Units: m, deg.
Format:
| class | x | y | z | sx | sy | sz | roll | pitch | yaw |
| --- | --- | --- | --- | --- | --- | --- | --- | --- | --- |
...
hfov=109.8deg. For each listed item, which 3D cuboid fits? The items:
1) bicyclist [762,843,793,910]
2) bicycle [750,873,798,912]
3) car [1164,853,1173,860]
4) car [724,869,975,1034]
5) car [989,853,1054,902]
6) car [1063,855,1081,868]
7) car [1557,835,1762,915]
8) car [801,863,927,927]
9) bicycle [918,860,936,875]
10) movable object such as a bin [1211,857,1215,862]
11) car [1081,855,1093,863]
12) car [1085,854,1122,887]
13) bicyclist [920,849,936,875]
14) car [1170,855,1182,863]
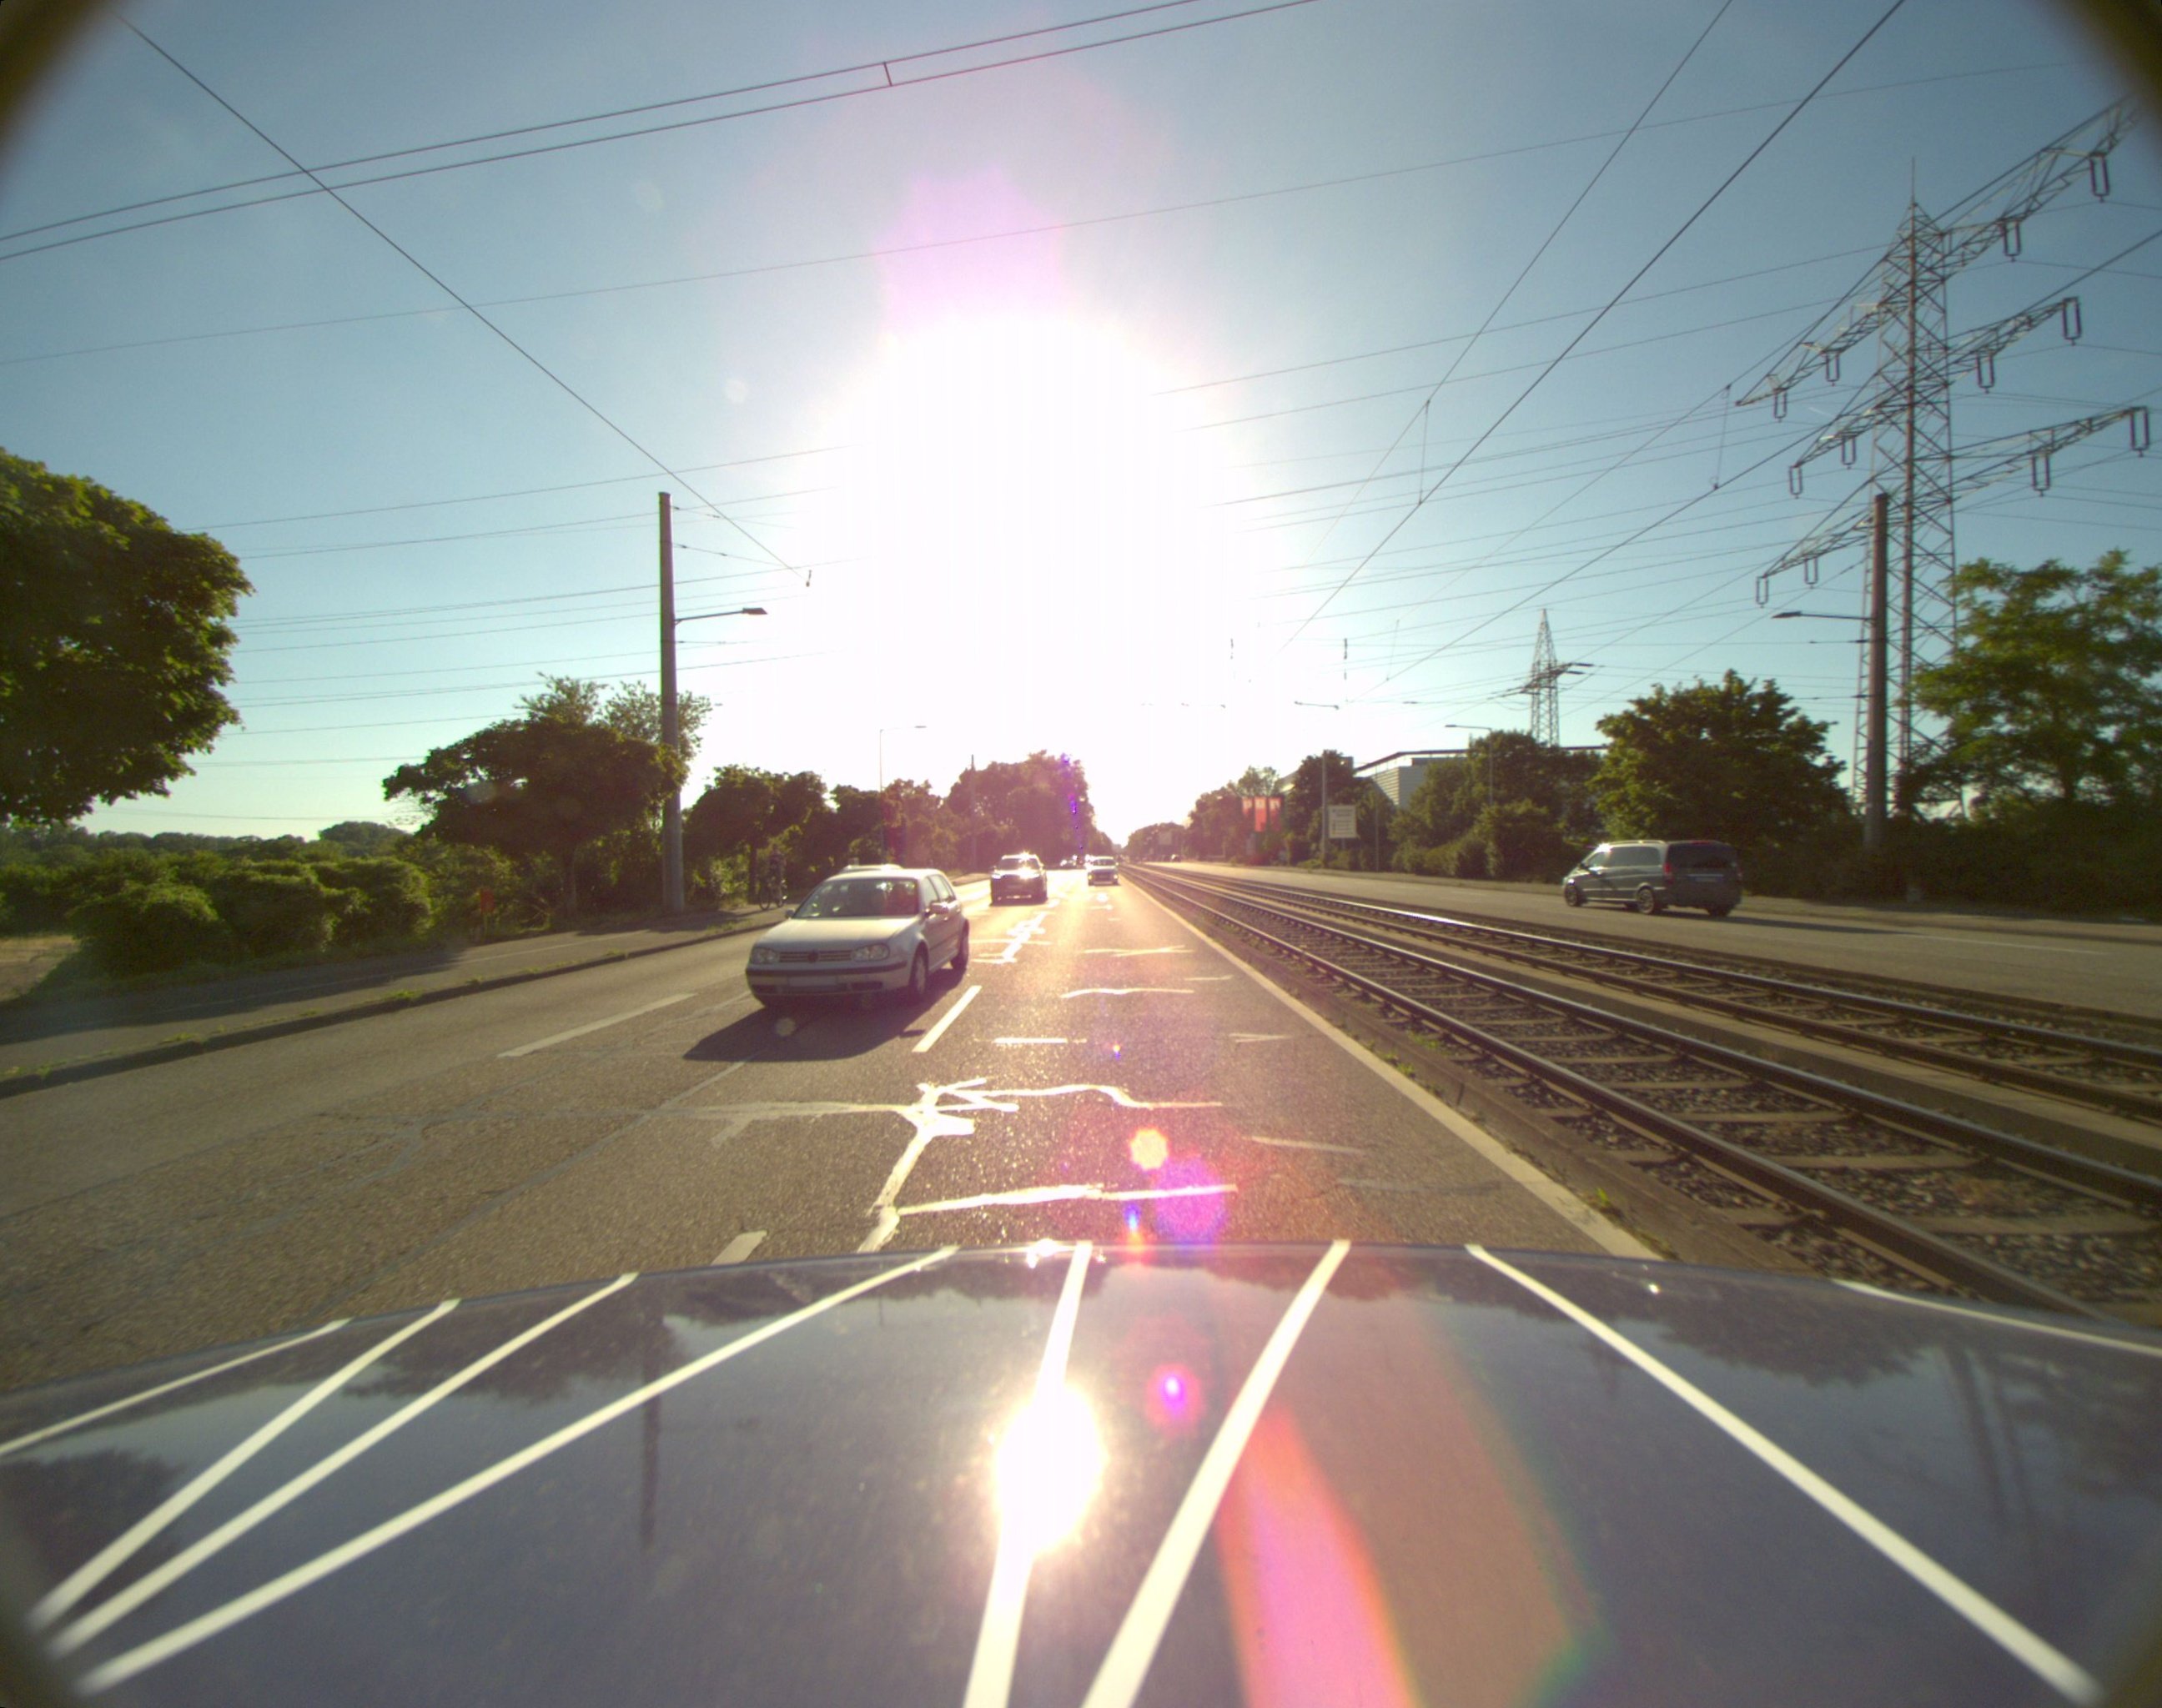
| class | x | y | z | sx | sy | sz | roll | pitch | yaw |
| --- | --- | --- | --- | --- | --- | --- | --- | --- | --- |
| bicyclist | -9.339 | 0.674 | 23.392 | 0.528 | 2.005 | 0.729 | -3 | 1 | 2 |
| bicycle | -9.329 | 1.154 | 23.173 | 0.528 | 1.054 | 1.971 | -3 | 1 | 2 |
| car | 22.856 | 0.624 | 199.557 | 1.998 | 1.785 | 4.350 | 0 | 1 | 2 |
| car | -2.509 | 0.986 | 9.322 | 1.695 | 1.437 | 4.001 | -1 | 1 | 2 |
| car | -2.120 | 0.822 | 28.290 | 1.881 | 1.591 | 4.417 | -1 | 1 | 3 |
| car | -1.077 | 0.840 | 90.269 | 1.881 | 1.449 | 4.417 | -1 | 1 | 3 |
| car | 15.336 | 0.477 | 20.588 | 1.998 | 1.912 | 4.860 | 0 | 1 | 3 |
| car | -5.847 | 1.050 | 21.119 | 1.881 | 1.435 | 4.660 | -1 | 1 | 3 |
| bicycle | -8.987 | 0.774 | 44.437 | 0.628 | 0.829 | 1.635 | 3 | 1 | 2 |
| movable object such as a bin | 23.845 | 1.025 | 137.258 | 0.614 | 0.960 | 1.083 | -3 | 1 | 2 |
| car | 1.152 | 0.976 | 143.305 | 1.880 | 1.449 | 4.418 | -1 | 1 | 5 |
| car | 1.265 | 0.870 | 41.636 | 1.881 | 1.591 | 4.417 | -1 | 1 | 3 |
| bicyclist | -8.962 | 0.453 | 44.519 | 0.628 | 1.463 | 1.060 | 3 | 1 | 2 |
| car | 20.943 | 1.126 | 166.952 | 1.999 | 1.616 | 4.682 | 0 | 1 | 0 |
